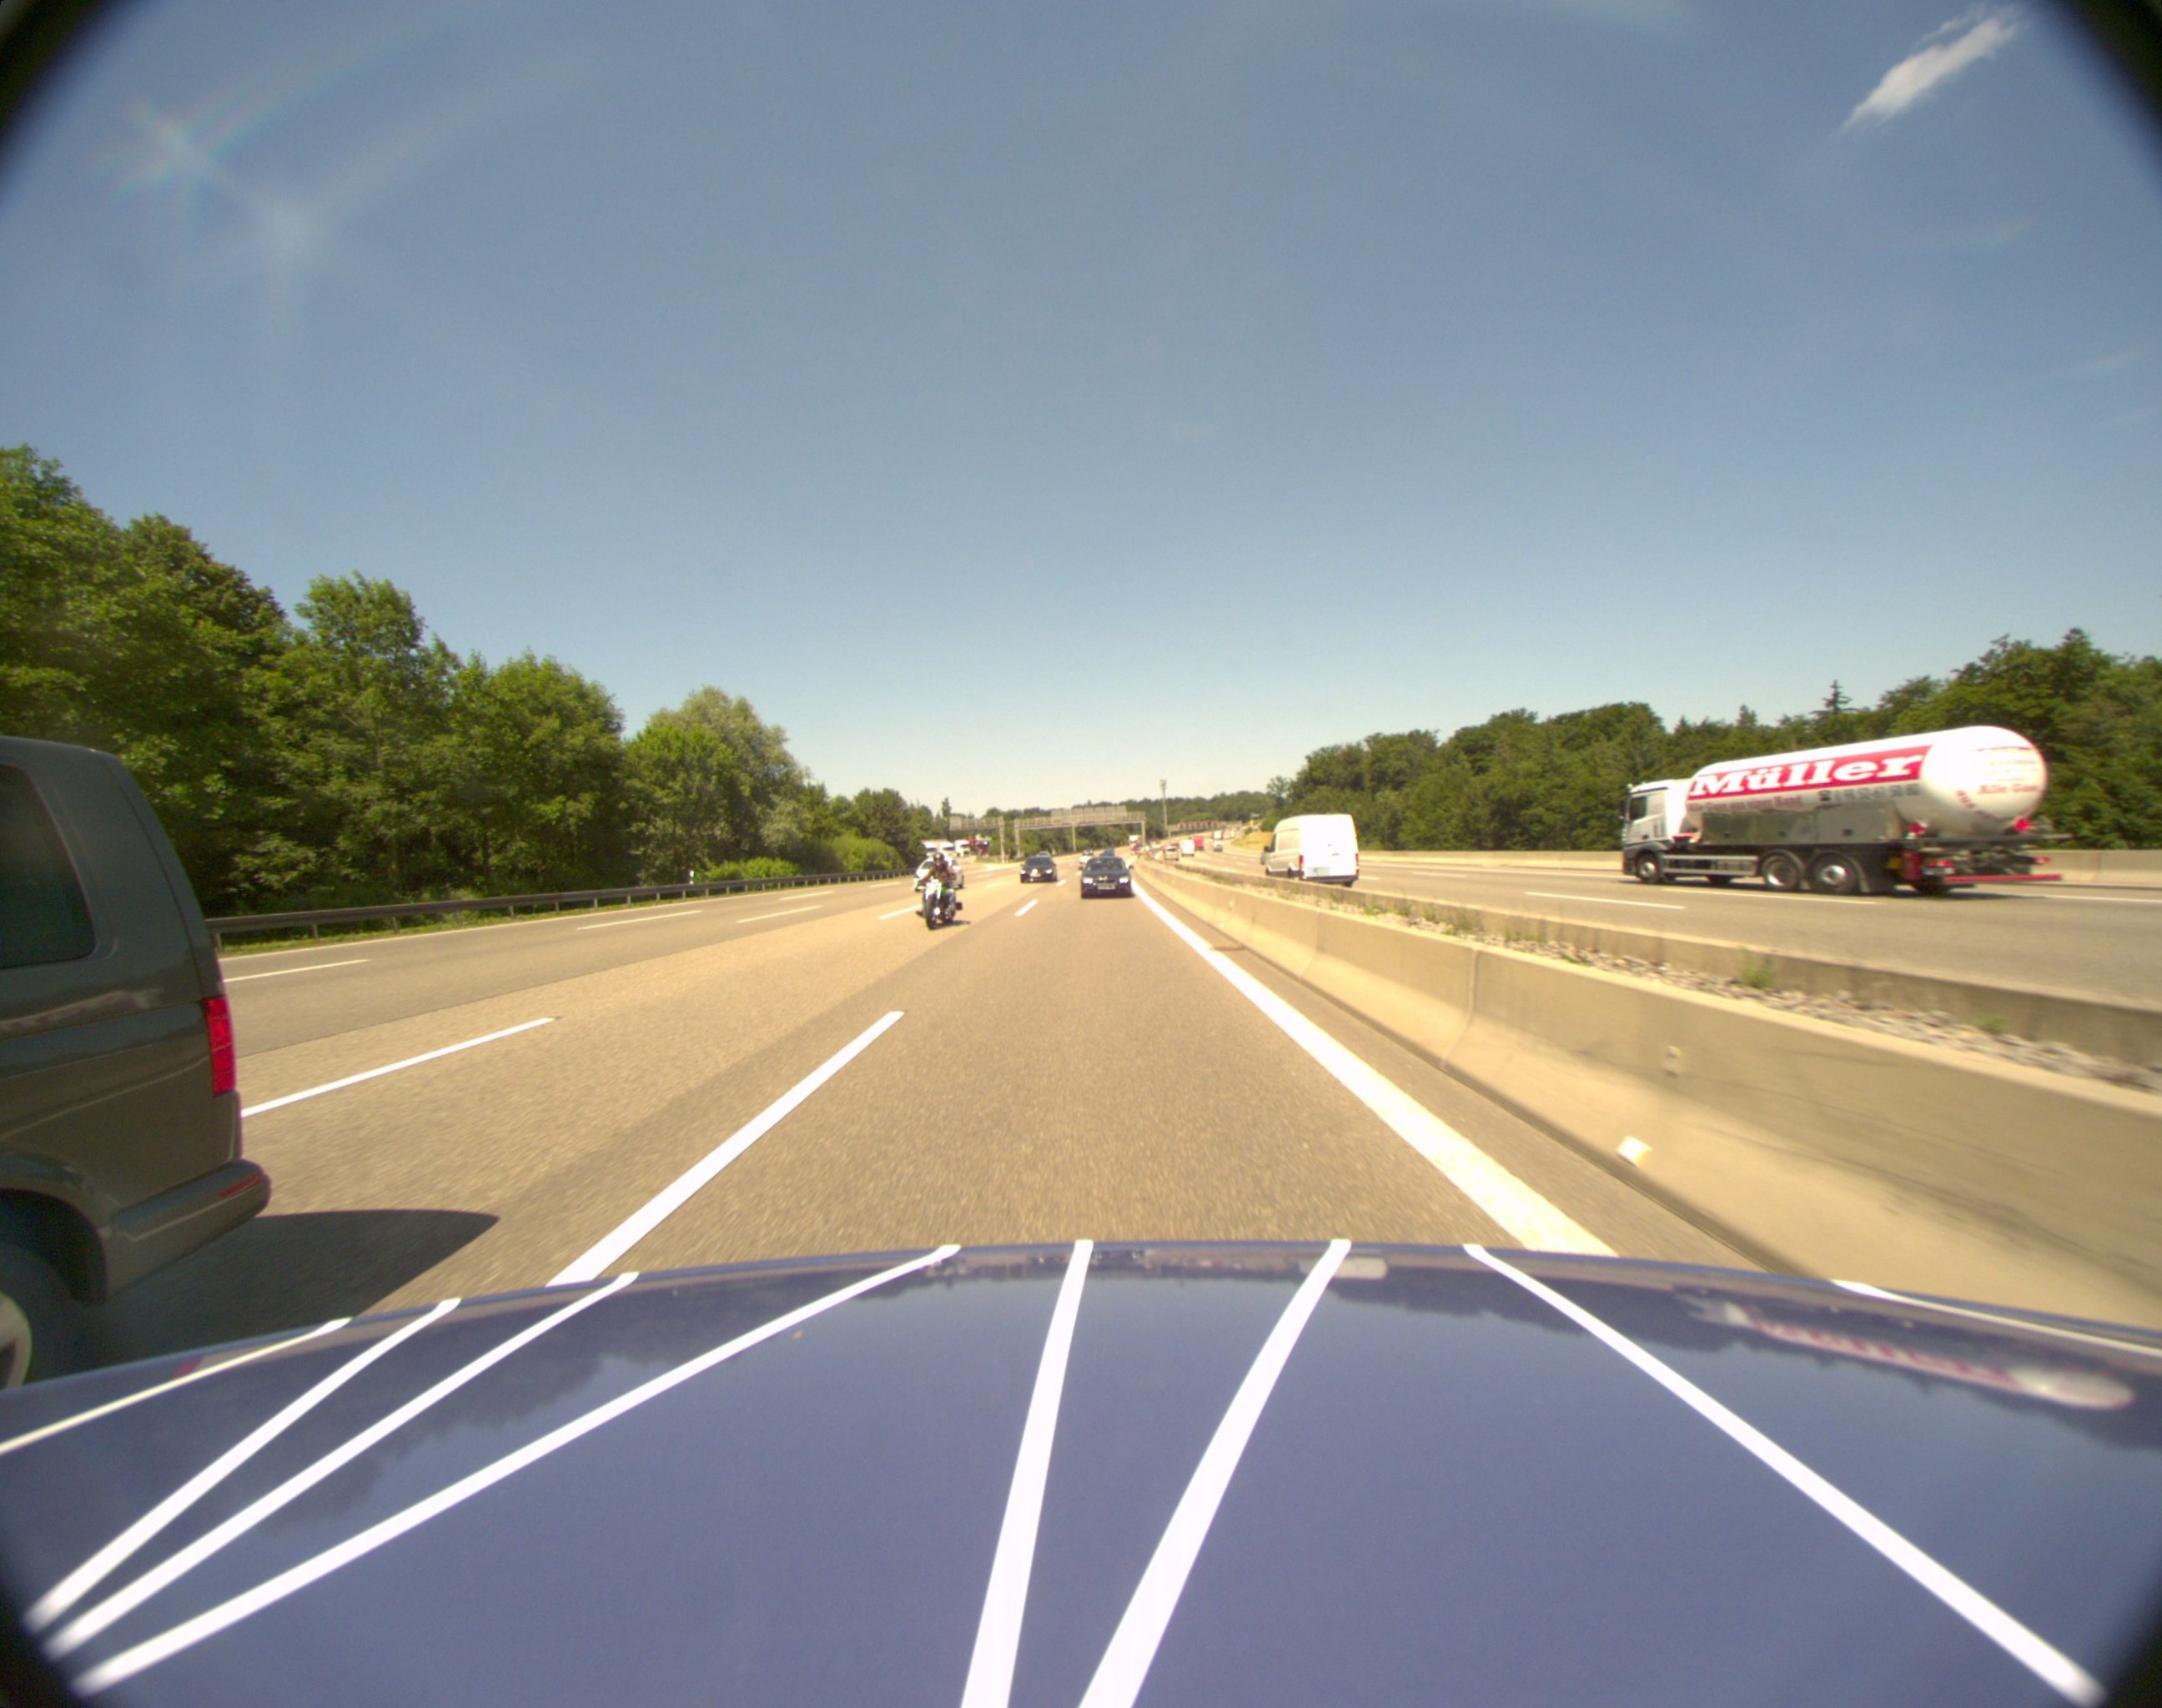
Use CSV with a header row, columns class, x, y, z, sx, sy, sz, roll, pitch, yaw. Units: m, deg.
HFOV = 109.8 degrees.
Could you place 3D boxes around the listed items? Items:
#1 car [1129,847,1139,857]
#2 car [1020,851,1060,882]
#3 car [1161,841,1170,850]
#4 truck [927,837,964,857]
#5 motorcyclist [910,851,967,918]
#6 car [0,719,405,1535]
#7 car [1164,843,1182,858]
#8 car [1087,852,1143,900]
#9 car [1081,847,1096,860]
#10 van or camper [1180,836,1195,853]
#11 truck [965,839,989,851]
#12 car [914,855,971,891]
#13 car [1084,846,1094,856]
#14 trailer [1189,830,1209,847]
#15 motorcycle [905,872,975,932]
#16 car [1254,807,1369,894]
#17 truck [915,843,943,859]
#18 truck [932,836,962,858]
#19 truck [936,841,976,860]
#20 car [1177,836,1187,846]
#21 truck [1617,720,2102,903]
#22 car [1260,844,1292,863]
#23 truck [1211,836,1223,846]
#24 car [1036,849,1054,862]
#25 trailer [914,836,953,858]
class,x,y,z,sx,sy,sz,roll,pitch,yaw
car,11.674,-0.464,166.376,1.998,2.002,4.000,-3,1,4
car,-2.241,0.674,42.179,1.760,1.431,3.999,-2,2,3
car,19.125,-1.903,171.819,1.911,1.971,4.641,-3,2,4
truck,-33.198,-1.691,186.147,2.836,4.436,12.028,-6,4,-41
motorcyclist,-3.157,0.662,16.894,0.854,1.419,1.024,-1,2,14
car,-3.704,0.714,0.429,1.968,2.022,5.083,-2,0,1
car,11.702,-0.482,96.981,1.823,1.860,4.589,-2,1,3
car,1.237,0.714,26.985,1.769,1.496,4.000,-3,0,3
car,0.978,-0.066,97.994,1.729,1.522,3.740,2,3,2
van or camper,17.712,-1.554,126.785,1.998,2.783,7.416,-2,0,5
truck,-27.988,-2.434,203.986,2.003,2.934,8.724,-5,4,-39
car,-6.407,0.849,35.651,1.754,1.510,4.483,-2,0,0
car,1.839,-0.721,175.430,1.998,2.003,3.999,-3,3,2
trailer,30.759,-4.077,198.613,3.844,4.256,14.477,-3,1,4
motorcycle,-3.098,1.033,16.992,0.536,1.129,2.438,-1,1,14
car,8.112,-0.106,27.529,2.103,2.673,6.308,-3,0,0
truck,-32.785,-0.673,164.022,2.458,3.108,9.004,-5,3,-34
truck,-30.329,-1.625,171.362,3.272,4.699,7.169,-5,4,-39
truck,-31.914,-0.916,192.848,2.837,4.434,14.603,-3,1,-40
car,25.153,-3.340,189.288,1.998,2.289,4.591,-3,3,5
truck,18.703,-0.903,19.783,2.616,3.446,9.881,-3,1,2
car,16.788,-0.076,65.507,1.767,1.474,4.494,-3,1,3
truck,31.371,-3.069,175.163,2.051,2.241,8.825,-3,1,7
car,-5.136,0.191,109.828,1.998,1.522,4.000,-2,2,5
trailer,-34.370,-1.589,176.257,3.287,4.682,12.024,-5,4,-40
